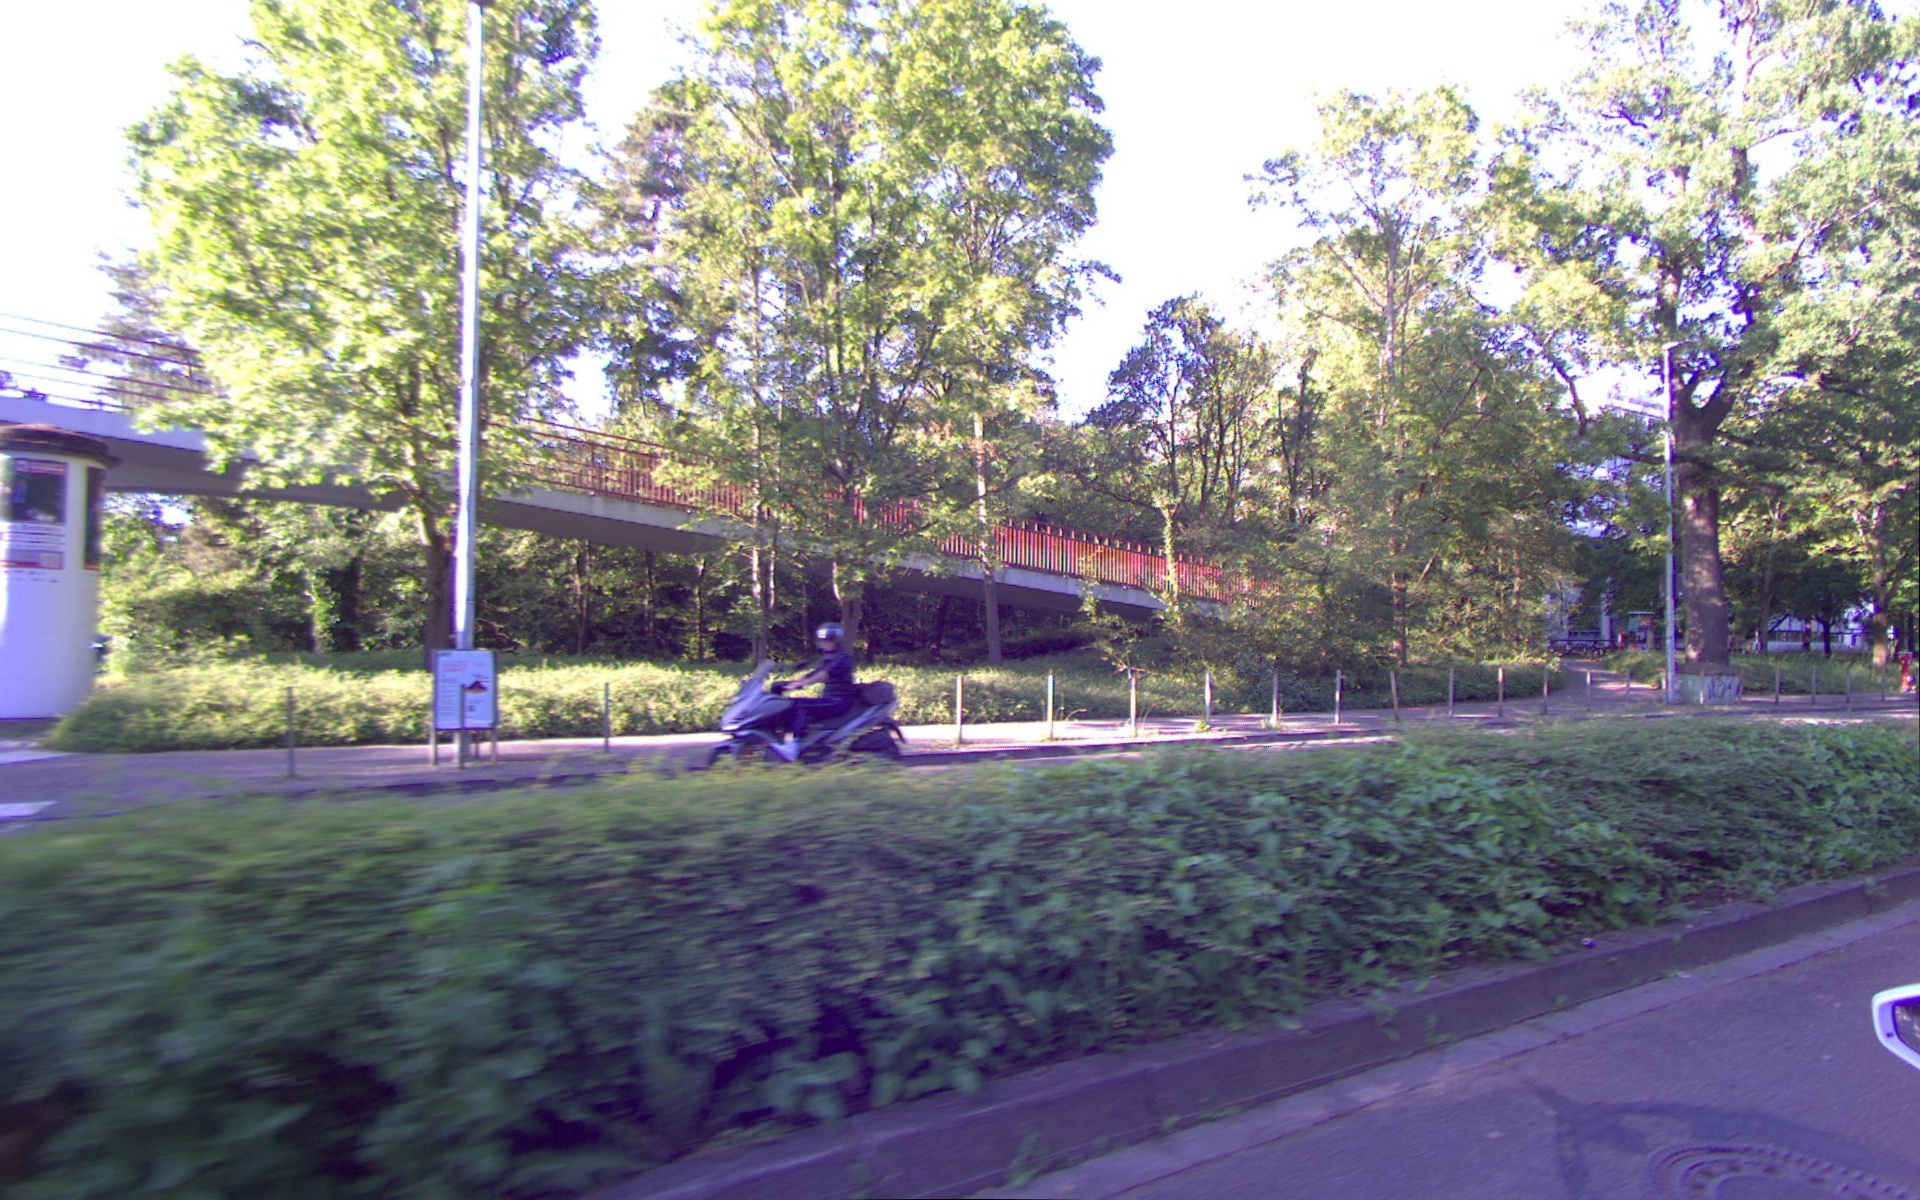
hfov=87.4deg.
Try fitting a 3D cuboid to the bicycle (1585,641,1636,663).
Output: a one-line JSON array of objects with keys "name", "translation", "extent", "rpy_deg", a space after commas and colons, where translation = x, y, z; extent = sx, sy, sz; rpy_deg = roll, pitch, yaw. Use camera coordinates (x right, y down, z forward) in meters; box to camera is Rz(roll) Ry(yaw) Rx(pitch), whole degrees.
[{"name": "bicycle", "translation": [34.415, 2.739, 53.131], "extent": [2.588, 1.086, 0.536], "rpy_deg": [1, 2, -12]}]

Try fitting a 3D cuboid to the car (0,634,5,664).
[{"name": "car", "translation": [-64.364, 3.194, 65.442], "extent": [1.929, 2.001, 4.363], "rpy_deg": [3, -3, -29]}]

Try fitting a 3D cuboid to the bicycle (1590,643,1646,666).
[{"name": "bicycle", "translation": [33.833, 2.792, 51.675], "extent": [2.380, 1.086, 0.537], "rpy_deg": [1, 1, 10]}]

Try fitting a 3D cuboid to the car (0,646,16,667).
[{"name": "car", "translation": [-57.338, 3.328, 59.038], "extent": [1.716, 1.260, 3.971], "rpy_deg": [2, -3, -29]}]

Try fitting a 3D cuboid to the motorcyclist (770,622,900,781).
[{"name": "motorcyclist", "translation": [-1.267, 0.985, 10.106], "extent": [1.056, 1.490, 0.945], "rpy_deg": [1, -2, -26]}]

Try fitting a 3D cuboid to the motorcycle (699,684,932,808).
[{"name": "motorcycle", "translation": [-1.411, 1.407, 10.023], "extent": [2.258, 1.082, 0.521], "rpy_deg": [1, -2, -27]}]

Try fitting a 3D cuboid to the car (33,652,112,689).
[{"name": "car", "translation": [-39.602, 3.140, 44.922], "extent": [1.692, 1.471, 3.614], "rpy_deg": [6, -5, -28]}]
